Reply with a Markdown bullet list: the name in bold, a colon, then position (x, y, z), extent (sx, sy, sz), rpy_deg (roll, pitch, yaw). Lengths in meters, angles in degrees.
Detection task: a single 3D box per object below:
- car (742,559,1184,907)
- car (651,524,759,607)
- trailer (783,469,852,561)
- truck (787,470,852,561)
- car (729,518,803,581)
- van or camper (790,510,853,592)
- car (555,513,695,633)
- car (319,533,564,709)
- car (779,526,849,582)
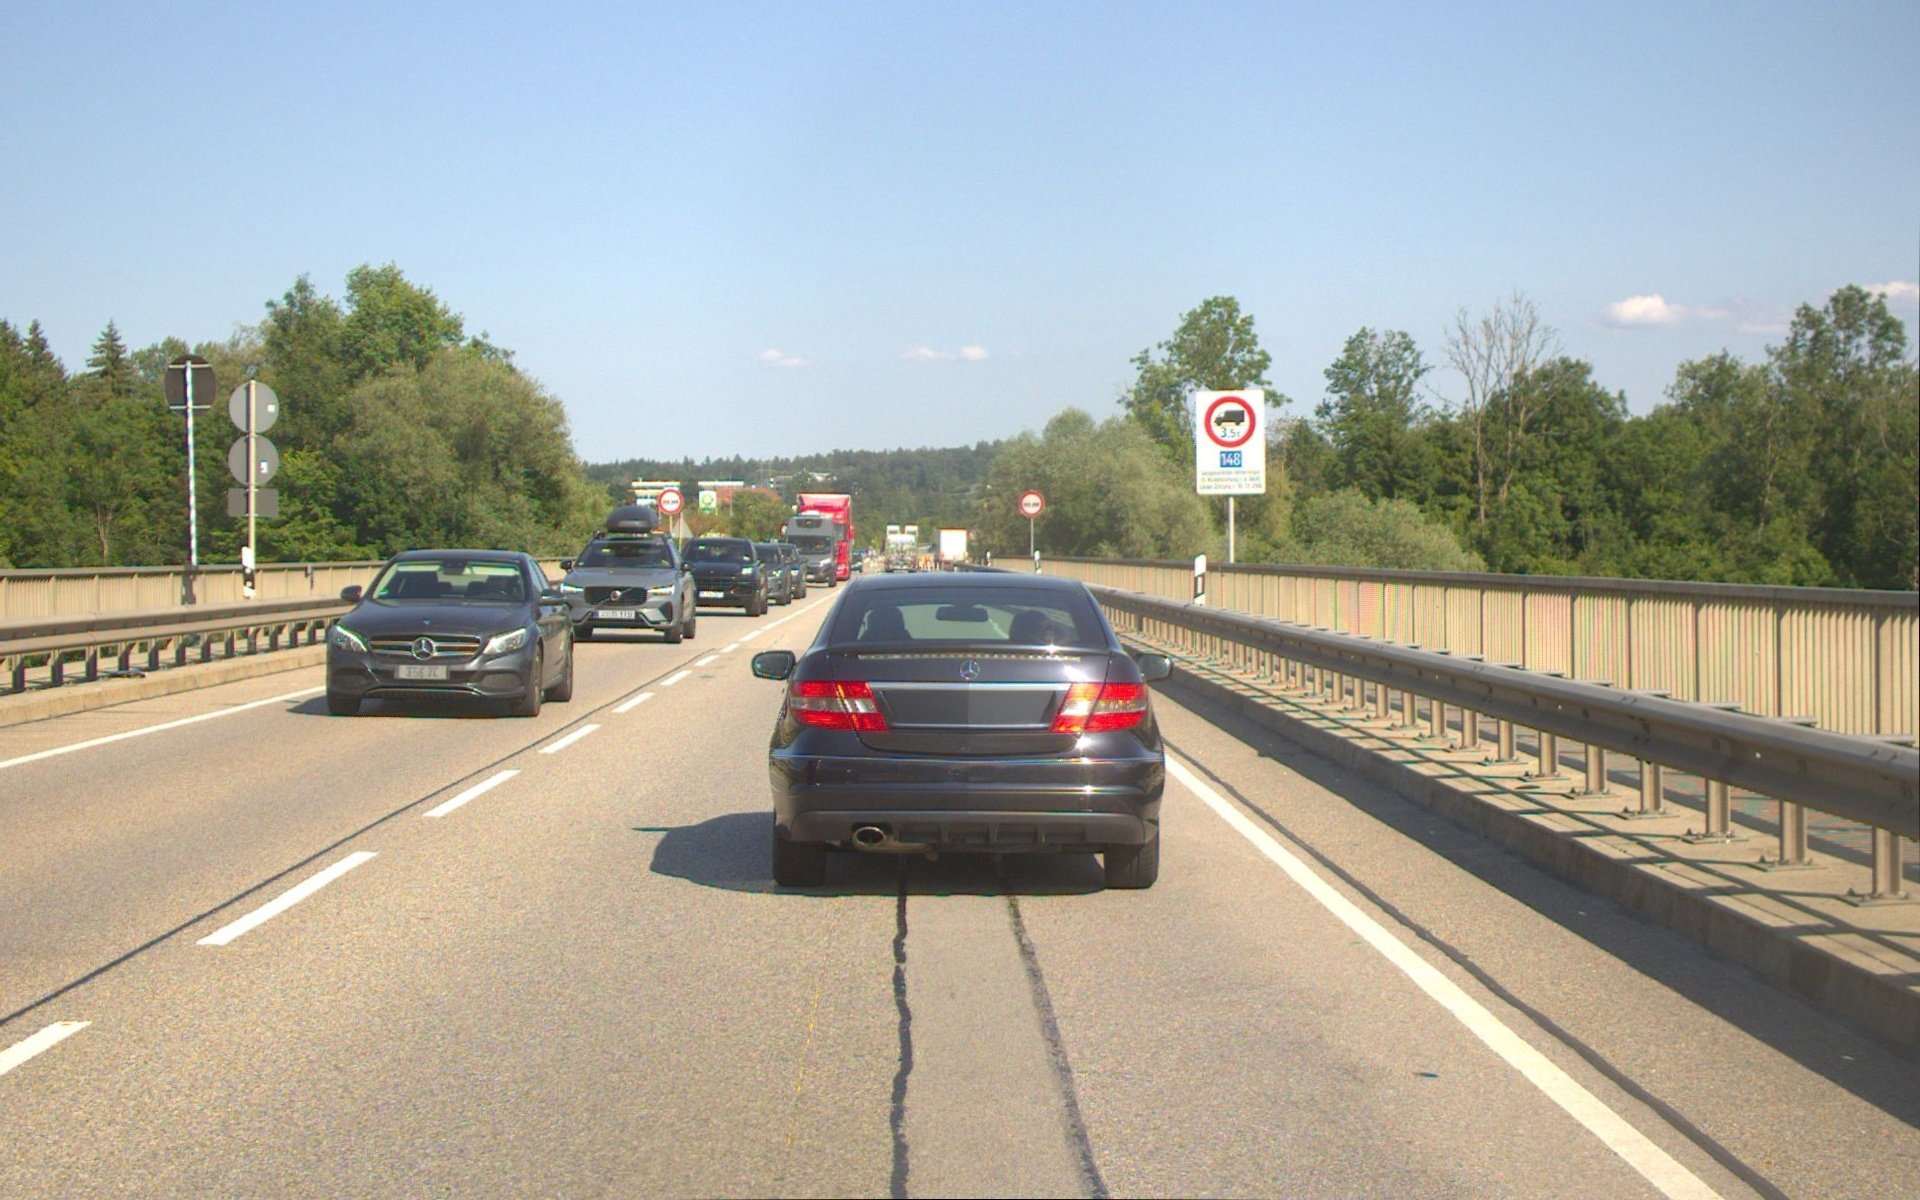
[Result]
- **car**: position (-0.014, 0.519, 16.045), extent (1.793, 1.371, 4.000), rpy_deg (1, 1, -1)
- **car**: position (-5.465, -0.768, 74.301), extent (2.053, 1.647, 4.722), rpy_deg (2, 1, -2)
- **trailer**: position (-7.089, -4.167, 169.500), extent (2.907, 4.287, 14.305), rpy_deg (1, 1, -4)
- **truck**: position (-6.630, -3.954, 161.351), extent (2.907, 4.170, 5.714), rpy_deg (1, 1, -3)
- **car**: position (-5.049, -1.323, 89.094), extent (1.806, 1.572, 4.202), rpy_deg (1, 1, -4)
- **van or camper**: position (-5.413, -1.925, 134.195), extent (2.315, 3.040, 6.818), rpy_deg (2, 1, -2)
- **car**: position (-5.187, -0.466, 53.691), extent (1.854, 1.716, 4.567), rpy_deg (2, 1, -2)
- **car**: position (-4.579, 0.133, 30.897), extent (1.765, 1.442, 4.457), rpy_deg (1, 1, -3)
- **car**: position (-4.305, -1.365, 100.663), extent (1.874, 1.578, 4.275), rpy_deg (1, 1, -4)
